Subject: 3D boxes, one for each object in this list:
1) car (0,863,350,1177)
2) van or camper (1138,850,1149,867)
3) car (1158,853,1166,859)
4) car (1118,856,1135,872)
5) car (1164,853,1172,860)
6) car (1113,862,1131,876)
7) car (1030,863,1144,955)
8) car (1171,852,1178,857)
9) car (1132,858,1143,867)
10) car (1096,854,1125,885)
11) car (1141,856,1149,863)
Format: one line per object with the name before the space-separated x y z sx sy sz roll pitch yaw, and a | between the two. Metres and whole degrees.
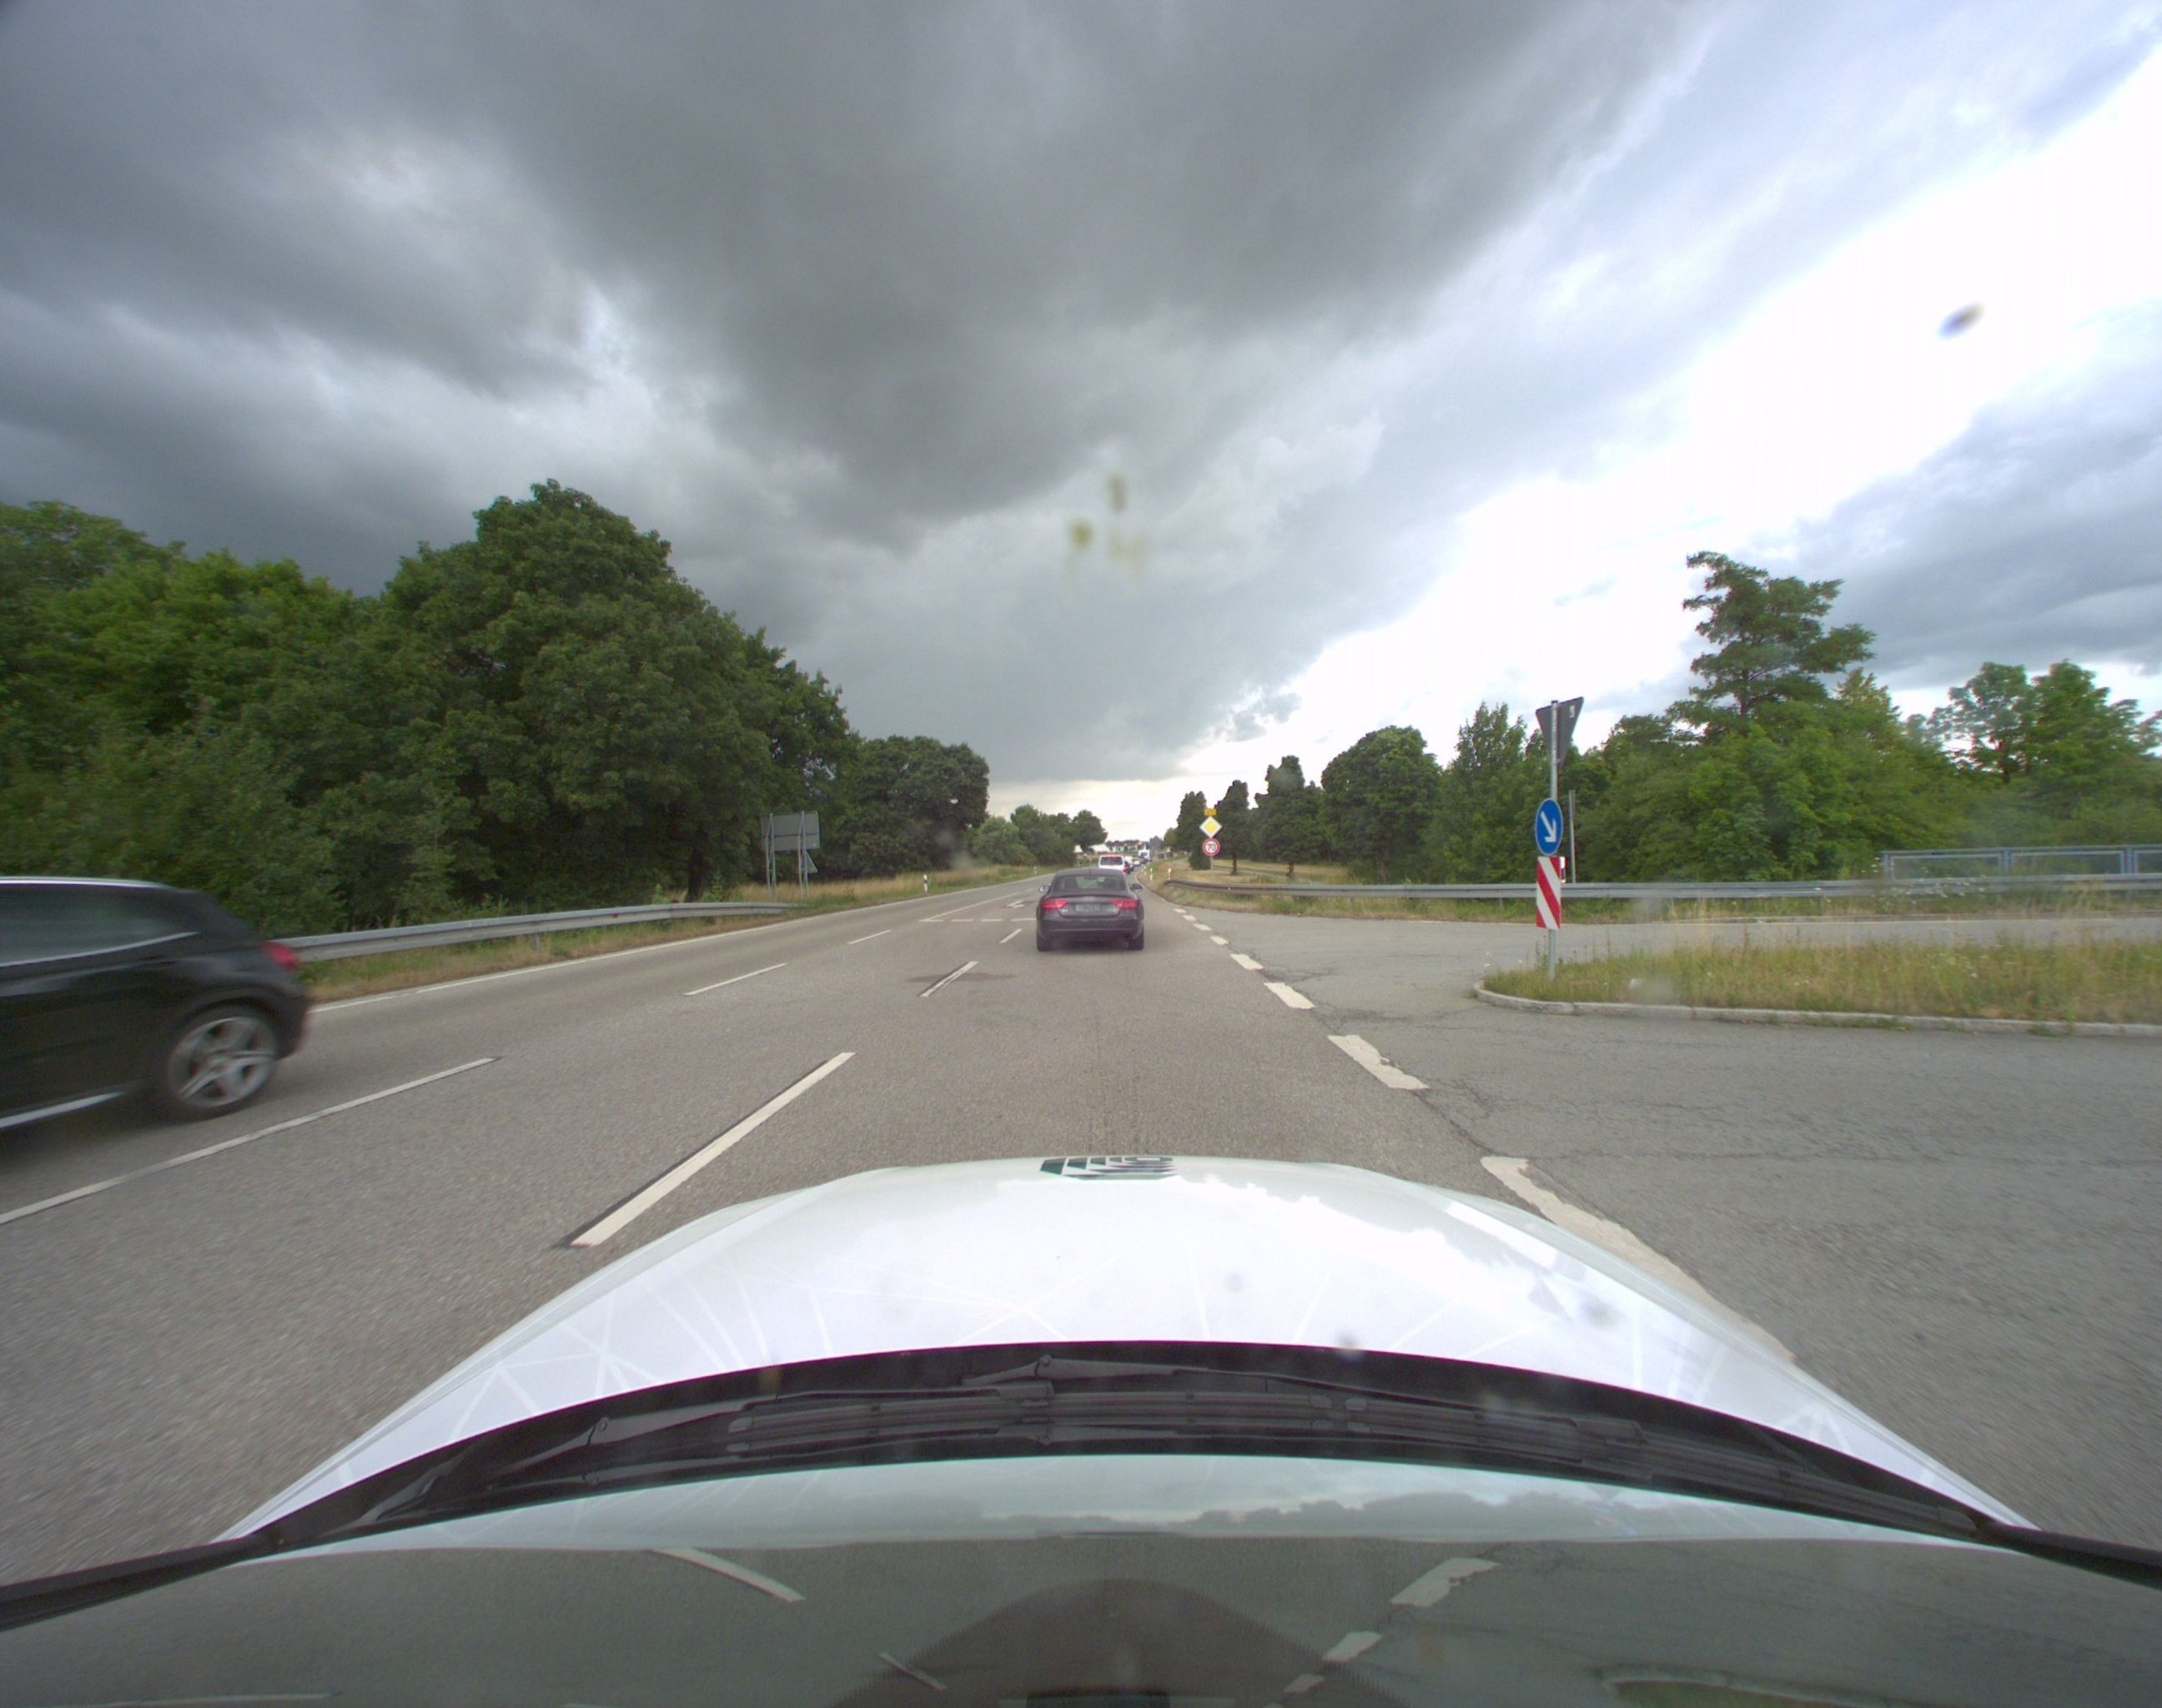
car | -6.148 0.831 3.833 1.704 1.523 4.002 -1 0 2
van or camper | 13.290 0.916 172.826 2.330 3.481 5.724 -1 -1 4
car | 21.414 0.517 215.680 1.712 1.451 4.003 0 0 3
car | 5.900 1.276 105.126 1.984 2.088 4.005 -1 -1 5
car | 25.677 0.829 240.838 1.986 2.014 4.001 -1 -1 1
car | 4.507 1.611 89.447 1.787 1.464 3.253 -1 -1 5
car | 0.159 0.889 14.783 1.776 1.376 4.002 0 0 2
car | 26.857 0.198 234.521 1.814 1.596 4.003 0 0 3
car | 9.631 1.412 138.688 1.726 1.514 3.754 -1 -1 8
car | 1.904 0.974 52.897 1.832 1.882 4.002 0 0 2
car | 12.183 1.011 154.758 1.251 1.353 3.473 -1 -1 8
